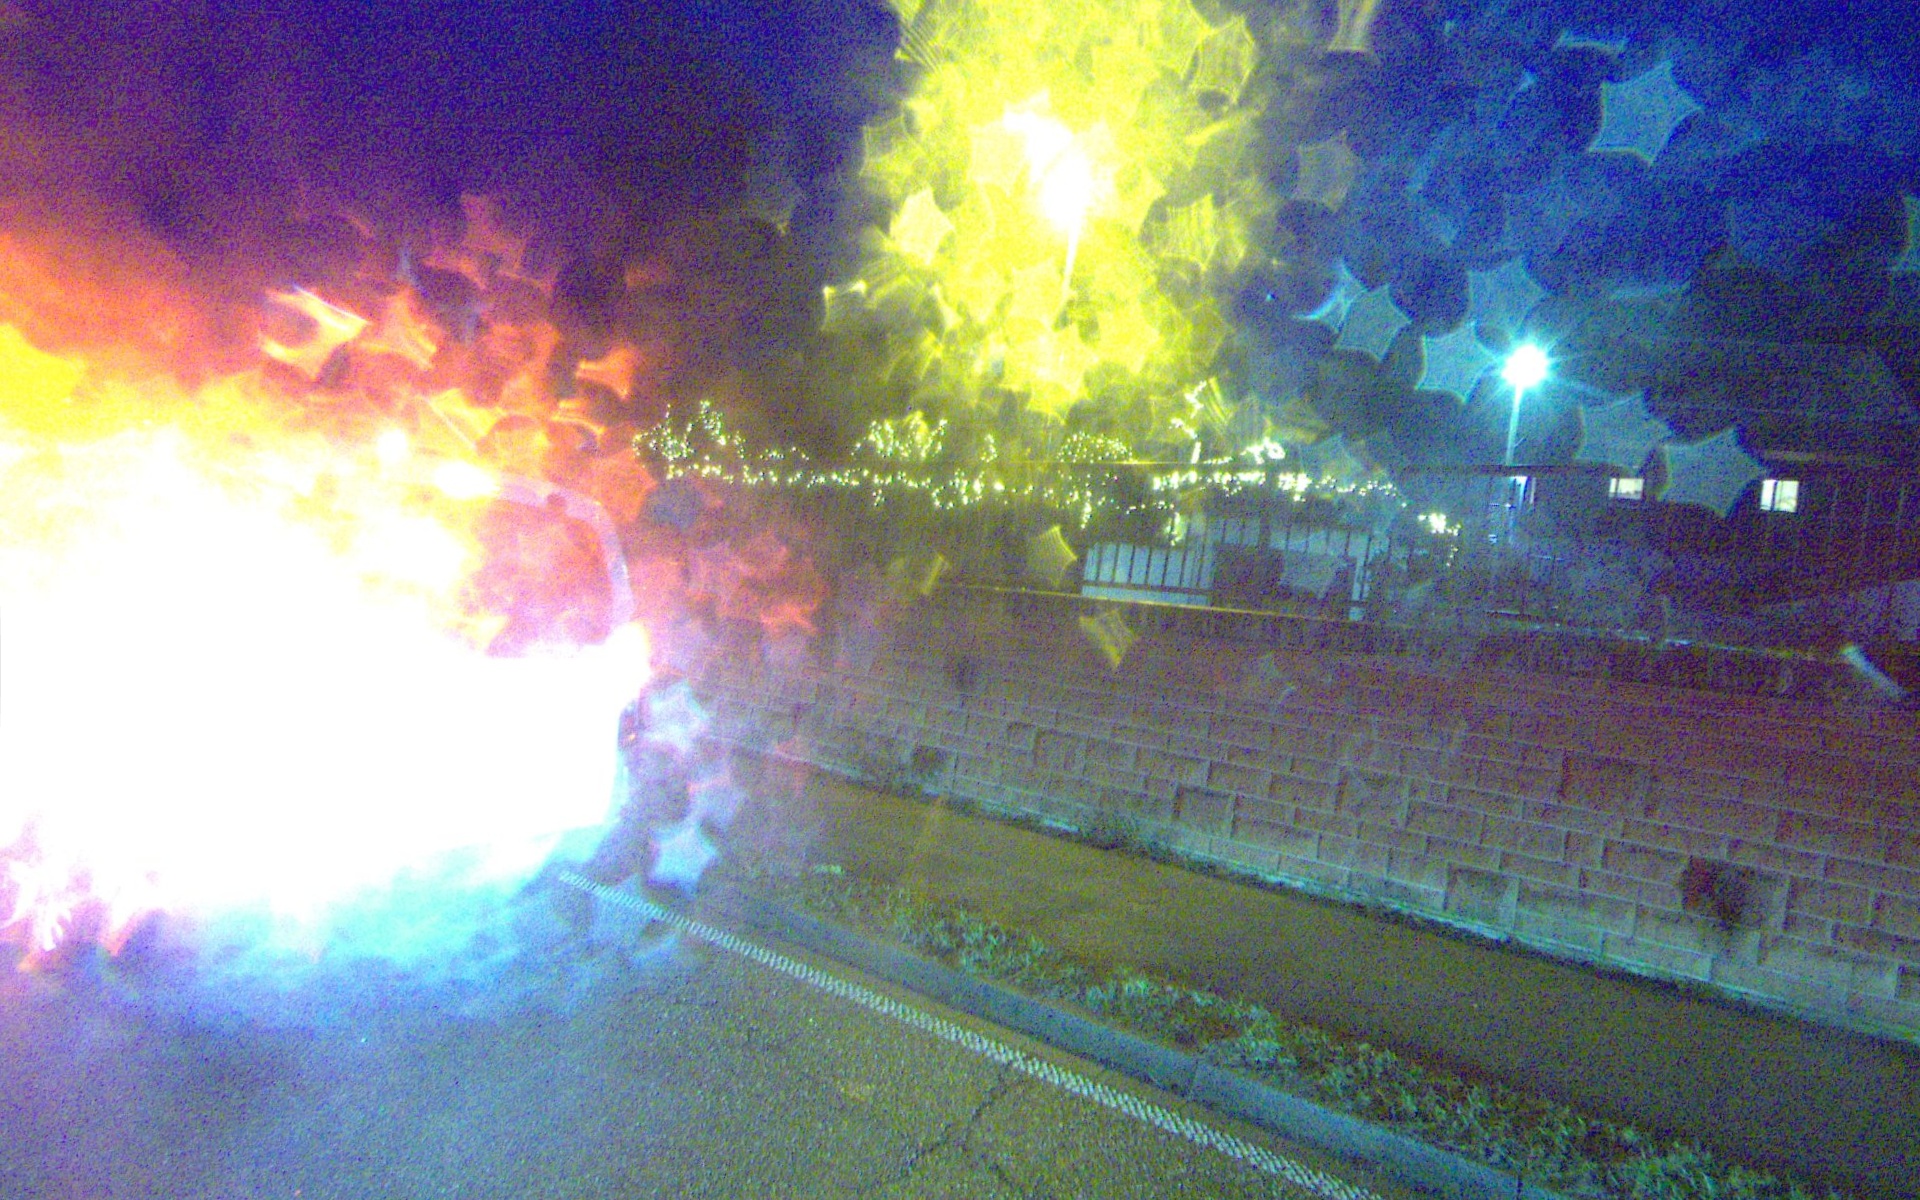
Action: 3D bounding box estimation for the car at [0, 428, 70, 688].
[{"bbox_3d":[-9.705,-0.579,8.559,3.934,2.070,1.972,6,-2,32],"label":"car"}]

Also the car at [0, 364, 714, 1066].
[{"bbox_3d":[-3.437,0.204,4.606,4.269,1.886,1.855,6,-2,32],"label":"car"}]

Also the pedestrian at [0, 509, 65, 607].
[{"bbox_3d":[-17.254,-0.775,18.690,0.532,1.721,0.624,7,-1,29],"label":"pedestrian"}]
